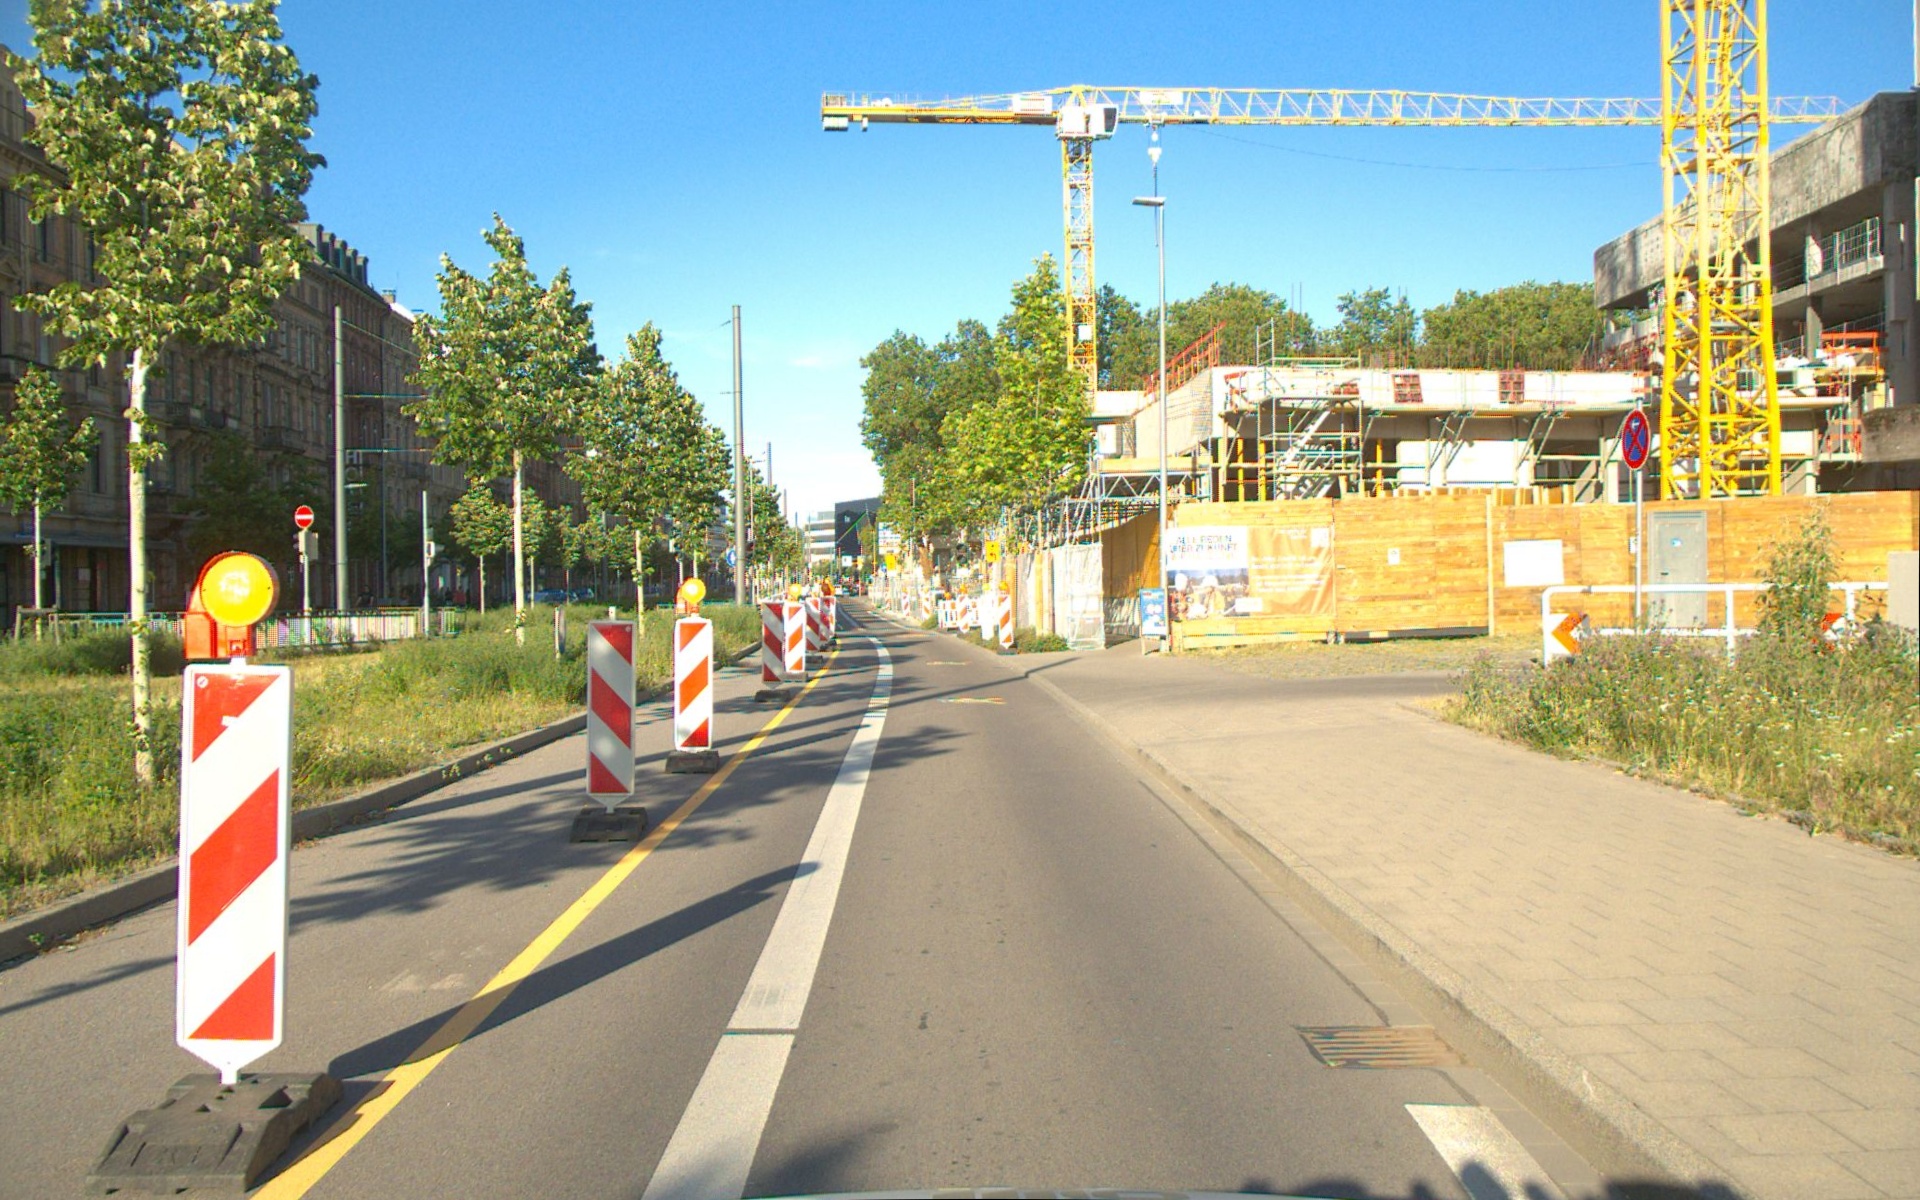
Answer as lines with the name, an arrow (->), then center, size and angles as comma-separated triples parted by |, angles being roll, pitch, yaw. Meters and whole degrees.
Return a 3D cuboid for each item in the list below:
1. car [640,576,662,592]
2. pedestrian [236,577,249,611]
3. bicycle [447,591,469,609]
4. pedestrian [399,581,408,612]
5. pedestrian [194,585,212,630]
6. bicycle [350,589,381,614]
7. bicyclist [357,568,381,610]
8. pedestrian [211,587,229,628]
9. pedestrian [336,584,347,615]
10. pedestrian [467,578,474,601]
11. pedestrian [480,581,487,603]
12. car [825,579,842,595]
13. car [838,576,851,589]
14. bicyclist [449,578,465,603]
car -> -29.647, -1.564, 158.829 | 1.563, 1.509, 3.621 | 0, 1, -3
pedestrian -> -33.960, -0.287, 78.272 | 0.377, 1.612, 0.390 | 1, 0, 26
bicycle -> -25.858, -0.012, 85.189 | 0.624, 0.872, 2.030 | -1, 1, -4
pedestrian -> -32.492, -0.230, 96.559 | 0.359, 1.795, 0.406 | 1, 0, -5
pedestrian -> -30.636, 0.313, 66.939 | 0.498, 1.795, 0.406 | 1, 0, -5
bicycle -> -24.093, 0.057, 67.045 | 0.681, 0.995, 1.826 | -1, 1, -4
bicyclist -> -24.138, -0.434, 67.542 | 0.681, 1.686, 0.881 | -1, 0, -4
pedestrian -> -29.346, 0.293, 65.566 | 0.477, 1.612, 0.533 | 1, 0, -5
pedestrian -> -31.956, -0.043, 85.438 | 0.395, 1.612, 0.425 | 1, 0, -5
pedestrian -> -33.741, -0.717, 114.007 | 0.397, 1.559, 0.434 | 1, 0, -5
pedestrian -> -36.633, -0.616, 127.140 | 0.452, 1.612, 0.434 | 1, 0, -12
car -> -14.898, -1.539, 194.836 | 1.846, 1.874, 3.664 | -2, 1, -5
car -> -16.680, -2.506, 238.607 | 1.846, 1.874, 3.664 | -2, 1, -5
bicyclist -> -25.849, -0.469, 84.965 | 0.624, 1.261, 0.738 | -1, 1, -4
